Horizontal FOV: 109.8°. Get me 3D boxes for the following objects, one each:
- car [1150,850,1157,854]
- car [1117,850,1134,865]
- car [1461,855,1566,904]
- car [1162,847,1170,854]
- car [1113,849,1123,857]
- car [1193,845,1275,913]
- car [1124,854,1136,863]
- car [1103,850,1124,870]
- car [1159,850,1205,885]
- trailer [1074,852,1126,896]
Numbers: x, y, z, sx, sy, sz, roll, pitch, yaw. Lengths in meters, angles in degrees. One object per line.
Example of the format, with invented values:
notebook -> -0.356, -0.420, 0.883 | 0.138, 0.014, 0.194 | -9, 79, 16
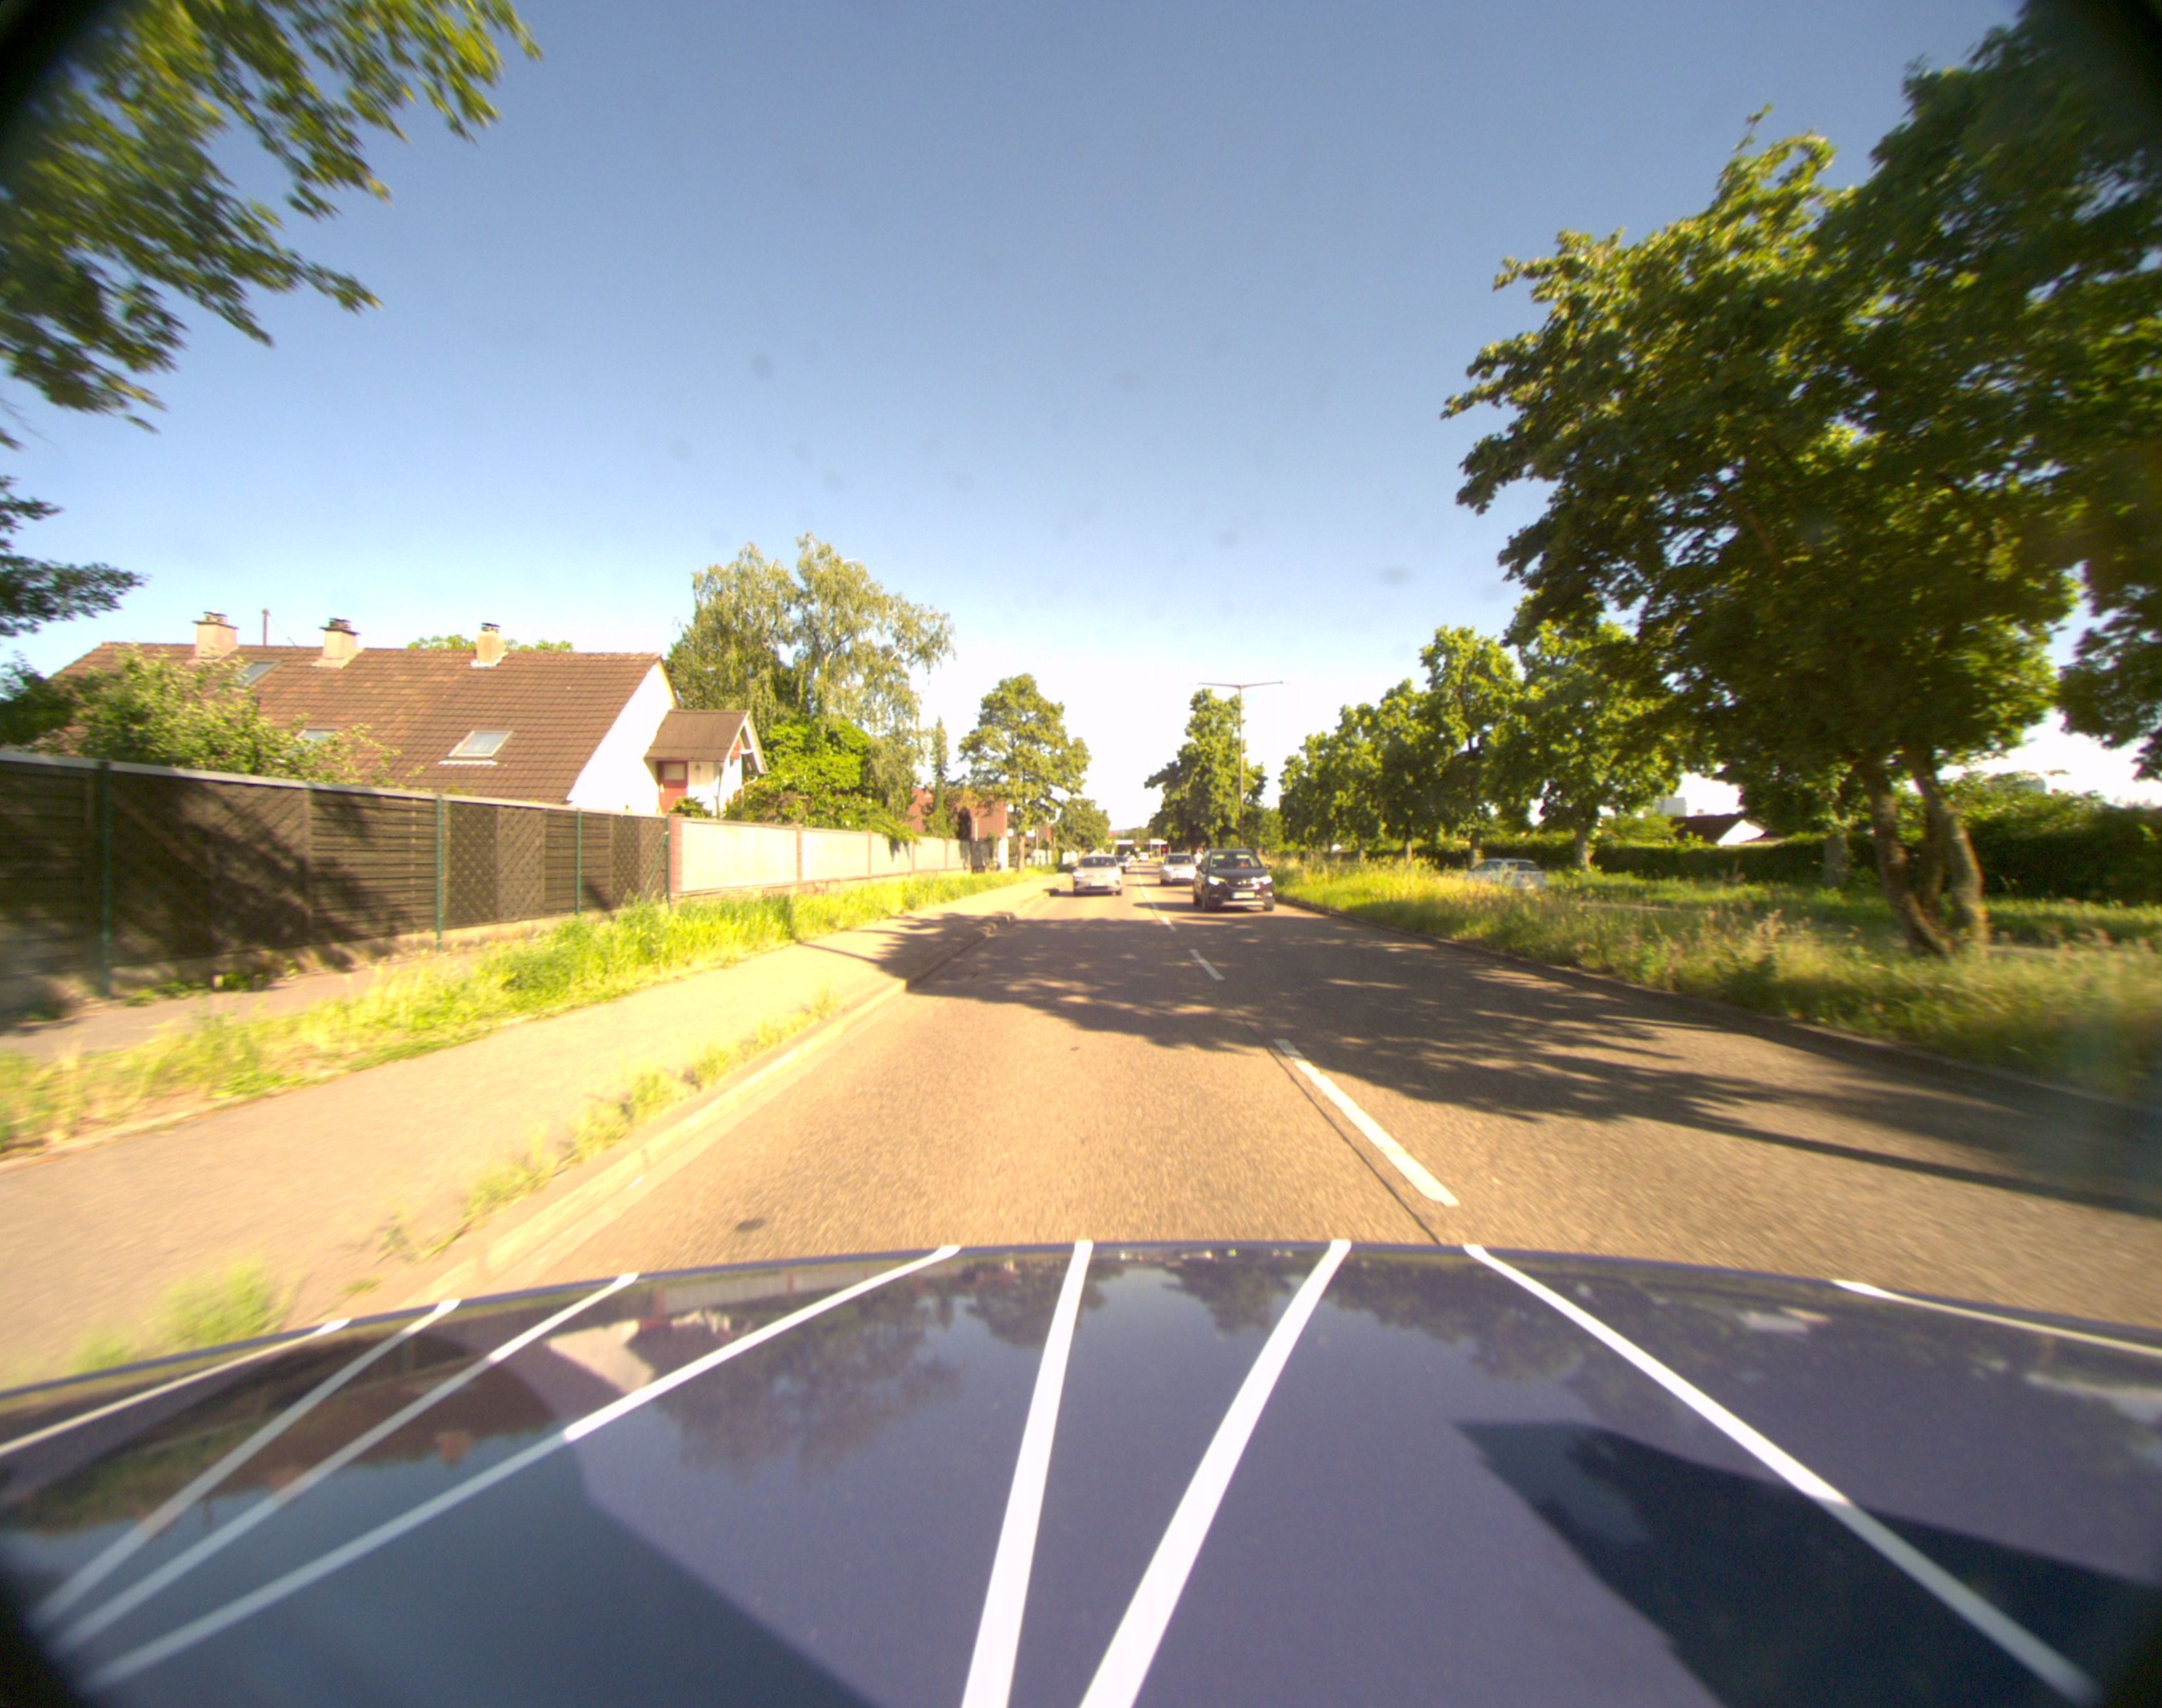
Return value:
car -> 22.402, -0.545, 234.285 | 1.632, 1.279, 3.506 | -1, 0, -7
car -> 5.077, 0.375, 86.553 | 1.823, 1.587, 4.273 | -1, 1, 4
car -> 16.581, 0.932, 29.374 | 1.942, 1.647, 4.001 | -2, 1, 4
car -> 22.476, -0.850, 201.205 | 1.631, 1.793, 3.572 | -1, 0, 1
car -> 9.488, -0.315, 195.675 | 1.999, 2.069, 3.999 | -2, 1, -2
car -> 4.078, 0.592, 20.857 | 1.810, 1.605, 4.516 | 0, 1, 6
car -> 9.799, 0.916, 152.685 | 1.999, 1.674, 3.999 | 0, 0, -2
car -> 2.884, 0.507, 67.322 | 1.823, 1.553, 4.272 | -1, 1, 3
car -> 4.883, 0.621, 37.212 | 1.823, 1.553, 4.647 | -1, 0, 3
trailer -> 0.784, 0.745, 30.149 | 1.897, 1.586, 4.000 | -2, 0, 2
